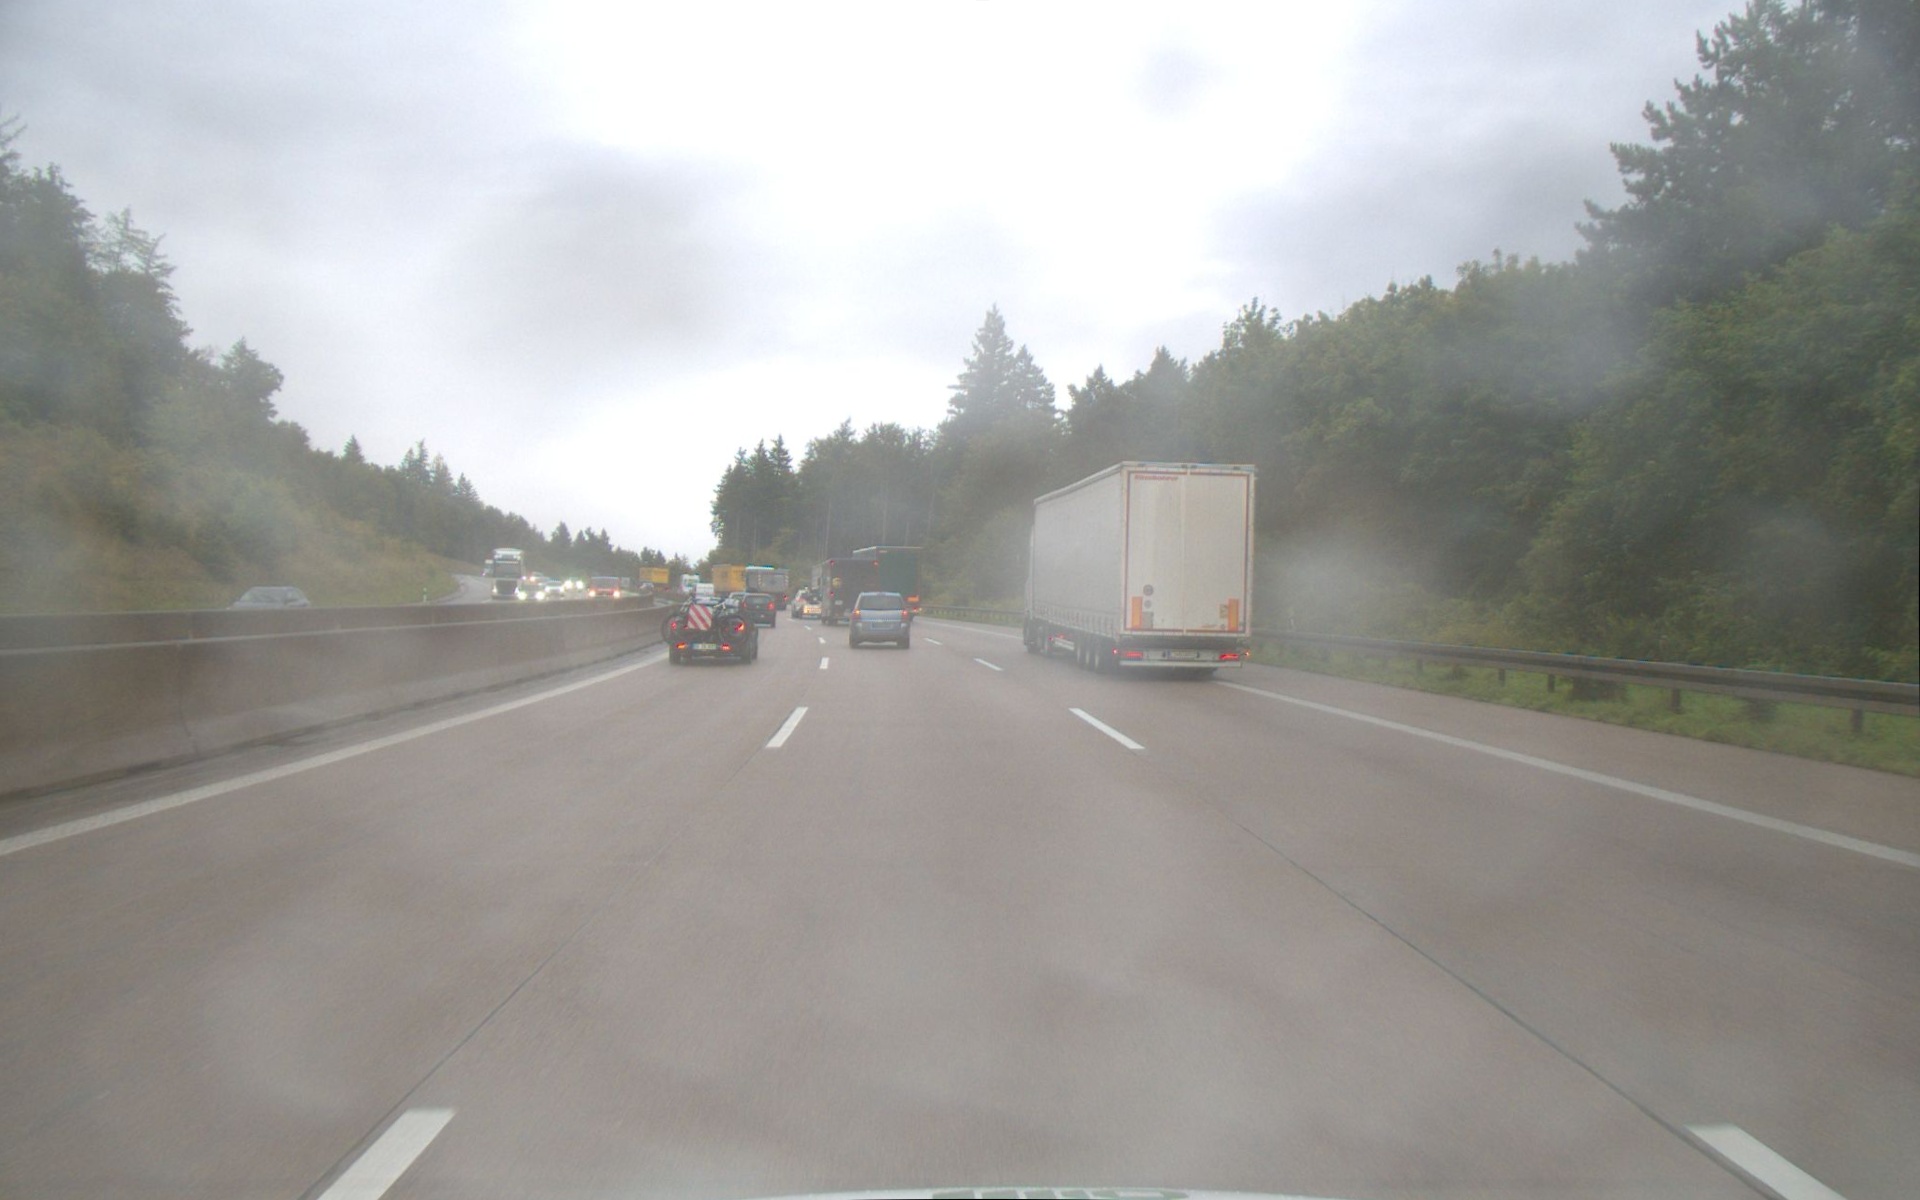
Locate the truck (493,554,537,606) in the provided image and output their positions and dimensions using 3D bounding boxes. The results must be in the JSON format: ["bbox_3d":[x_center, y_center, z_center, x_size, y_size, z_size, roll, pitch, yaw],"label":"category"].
[{"bbox_3d":[-38.243,-1.712,142.320,2.694,4.359,8.298,0,0,-9],"label":"truck"}]

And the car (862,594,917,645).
[{"bbox_3d":[-2.127,0.549,48.986,1.523,1.375,3.681,2,0,-4],"label":"car"}]

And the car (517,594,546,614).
[{"bbox_3d":[-31.278,0.250,120.766,1.592,1.417,3.992,0,0,-8],"label":"car"}]

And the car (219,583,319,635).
[{"bbox_3d":[-23.164,0.288,55.606,1.741,1.667,4.251,0,0,-3],"label":"car"}]

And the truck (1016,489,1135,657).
[{"bbox_3d":[2.948,-0.667,43.352,2.372,4.139,4.973,0,0,-5],"label":"truck"}]

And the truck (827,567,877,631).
[{"bbox_3d":[-5.292,-0.127,80.130,2.225,2.937,7.895,0,1,-5],"label":"truck"}]

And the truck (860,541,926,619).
[{"bbox_3d":[-3.972,-1.118,95.442,3.303,4.204,10.426,0,0,-5],"label":"truck"}]

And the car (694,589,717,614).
[{"bbox_3d":[-21.617,0.116,140.316,1.695,2.049,3.645,0,-1,-13],"label":"car"}]

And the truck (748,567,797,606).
[{"bbox_3d":[-14.893,-1.113,130.958,3.028,2.956,7.879,0,1,-12],"label":"truck"}]

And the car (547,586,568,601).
[{"bbox_3d":[-38.292,-0.615,157.348,1.592,1.417,3.991,0,0,-10],"label":"car"}]

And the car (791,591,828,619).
[{"bbox_3d":[-8.600,0.249,94.662,1.844,1.499,3.998,2,0,-3],"label":"car"}]

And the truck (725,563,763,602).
[{"bbox_3d":[-24.264,-1.909,185.699,3.675,4.284,6.796,0,-1,-12],"label":"truck"}]

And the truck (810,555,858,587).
[{"bbox_3d":[-9.861,-2.252,128.863,2.922,2.350,6.649,2,0,-11],"label":"truck"}]

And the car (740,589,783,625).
[{"bbox_3d":[-8.724,0.299,72.774,1.651,1.488,3.680,2,0,-4],"label":"car"}]

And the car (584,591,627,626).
[{"bbox_3d":[-22.004,0.506,102.764,1.955,2.119,5.326,0,0,-5],"label":"car"}]

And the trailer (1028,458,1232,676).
[{"bbox_3d":[3.478,-0.654,37.430,2.372,4.139,12.042,0,0,-5],"label":"trailer"}]
